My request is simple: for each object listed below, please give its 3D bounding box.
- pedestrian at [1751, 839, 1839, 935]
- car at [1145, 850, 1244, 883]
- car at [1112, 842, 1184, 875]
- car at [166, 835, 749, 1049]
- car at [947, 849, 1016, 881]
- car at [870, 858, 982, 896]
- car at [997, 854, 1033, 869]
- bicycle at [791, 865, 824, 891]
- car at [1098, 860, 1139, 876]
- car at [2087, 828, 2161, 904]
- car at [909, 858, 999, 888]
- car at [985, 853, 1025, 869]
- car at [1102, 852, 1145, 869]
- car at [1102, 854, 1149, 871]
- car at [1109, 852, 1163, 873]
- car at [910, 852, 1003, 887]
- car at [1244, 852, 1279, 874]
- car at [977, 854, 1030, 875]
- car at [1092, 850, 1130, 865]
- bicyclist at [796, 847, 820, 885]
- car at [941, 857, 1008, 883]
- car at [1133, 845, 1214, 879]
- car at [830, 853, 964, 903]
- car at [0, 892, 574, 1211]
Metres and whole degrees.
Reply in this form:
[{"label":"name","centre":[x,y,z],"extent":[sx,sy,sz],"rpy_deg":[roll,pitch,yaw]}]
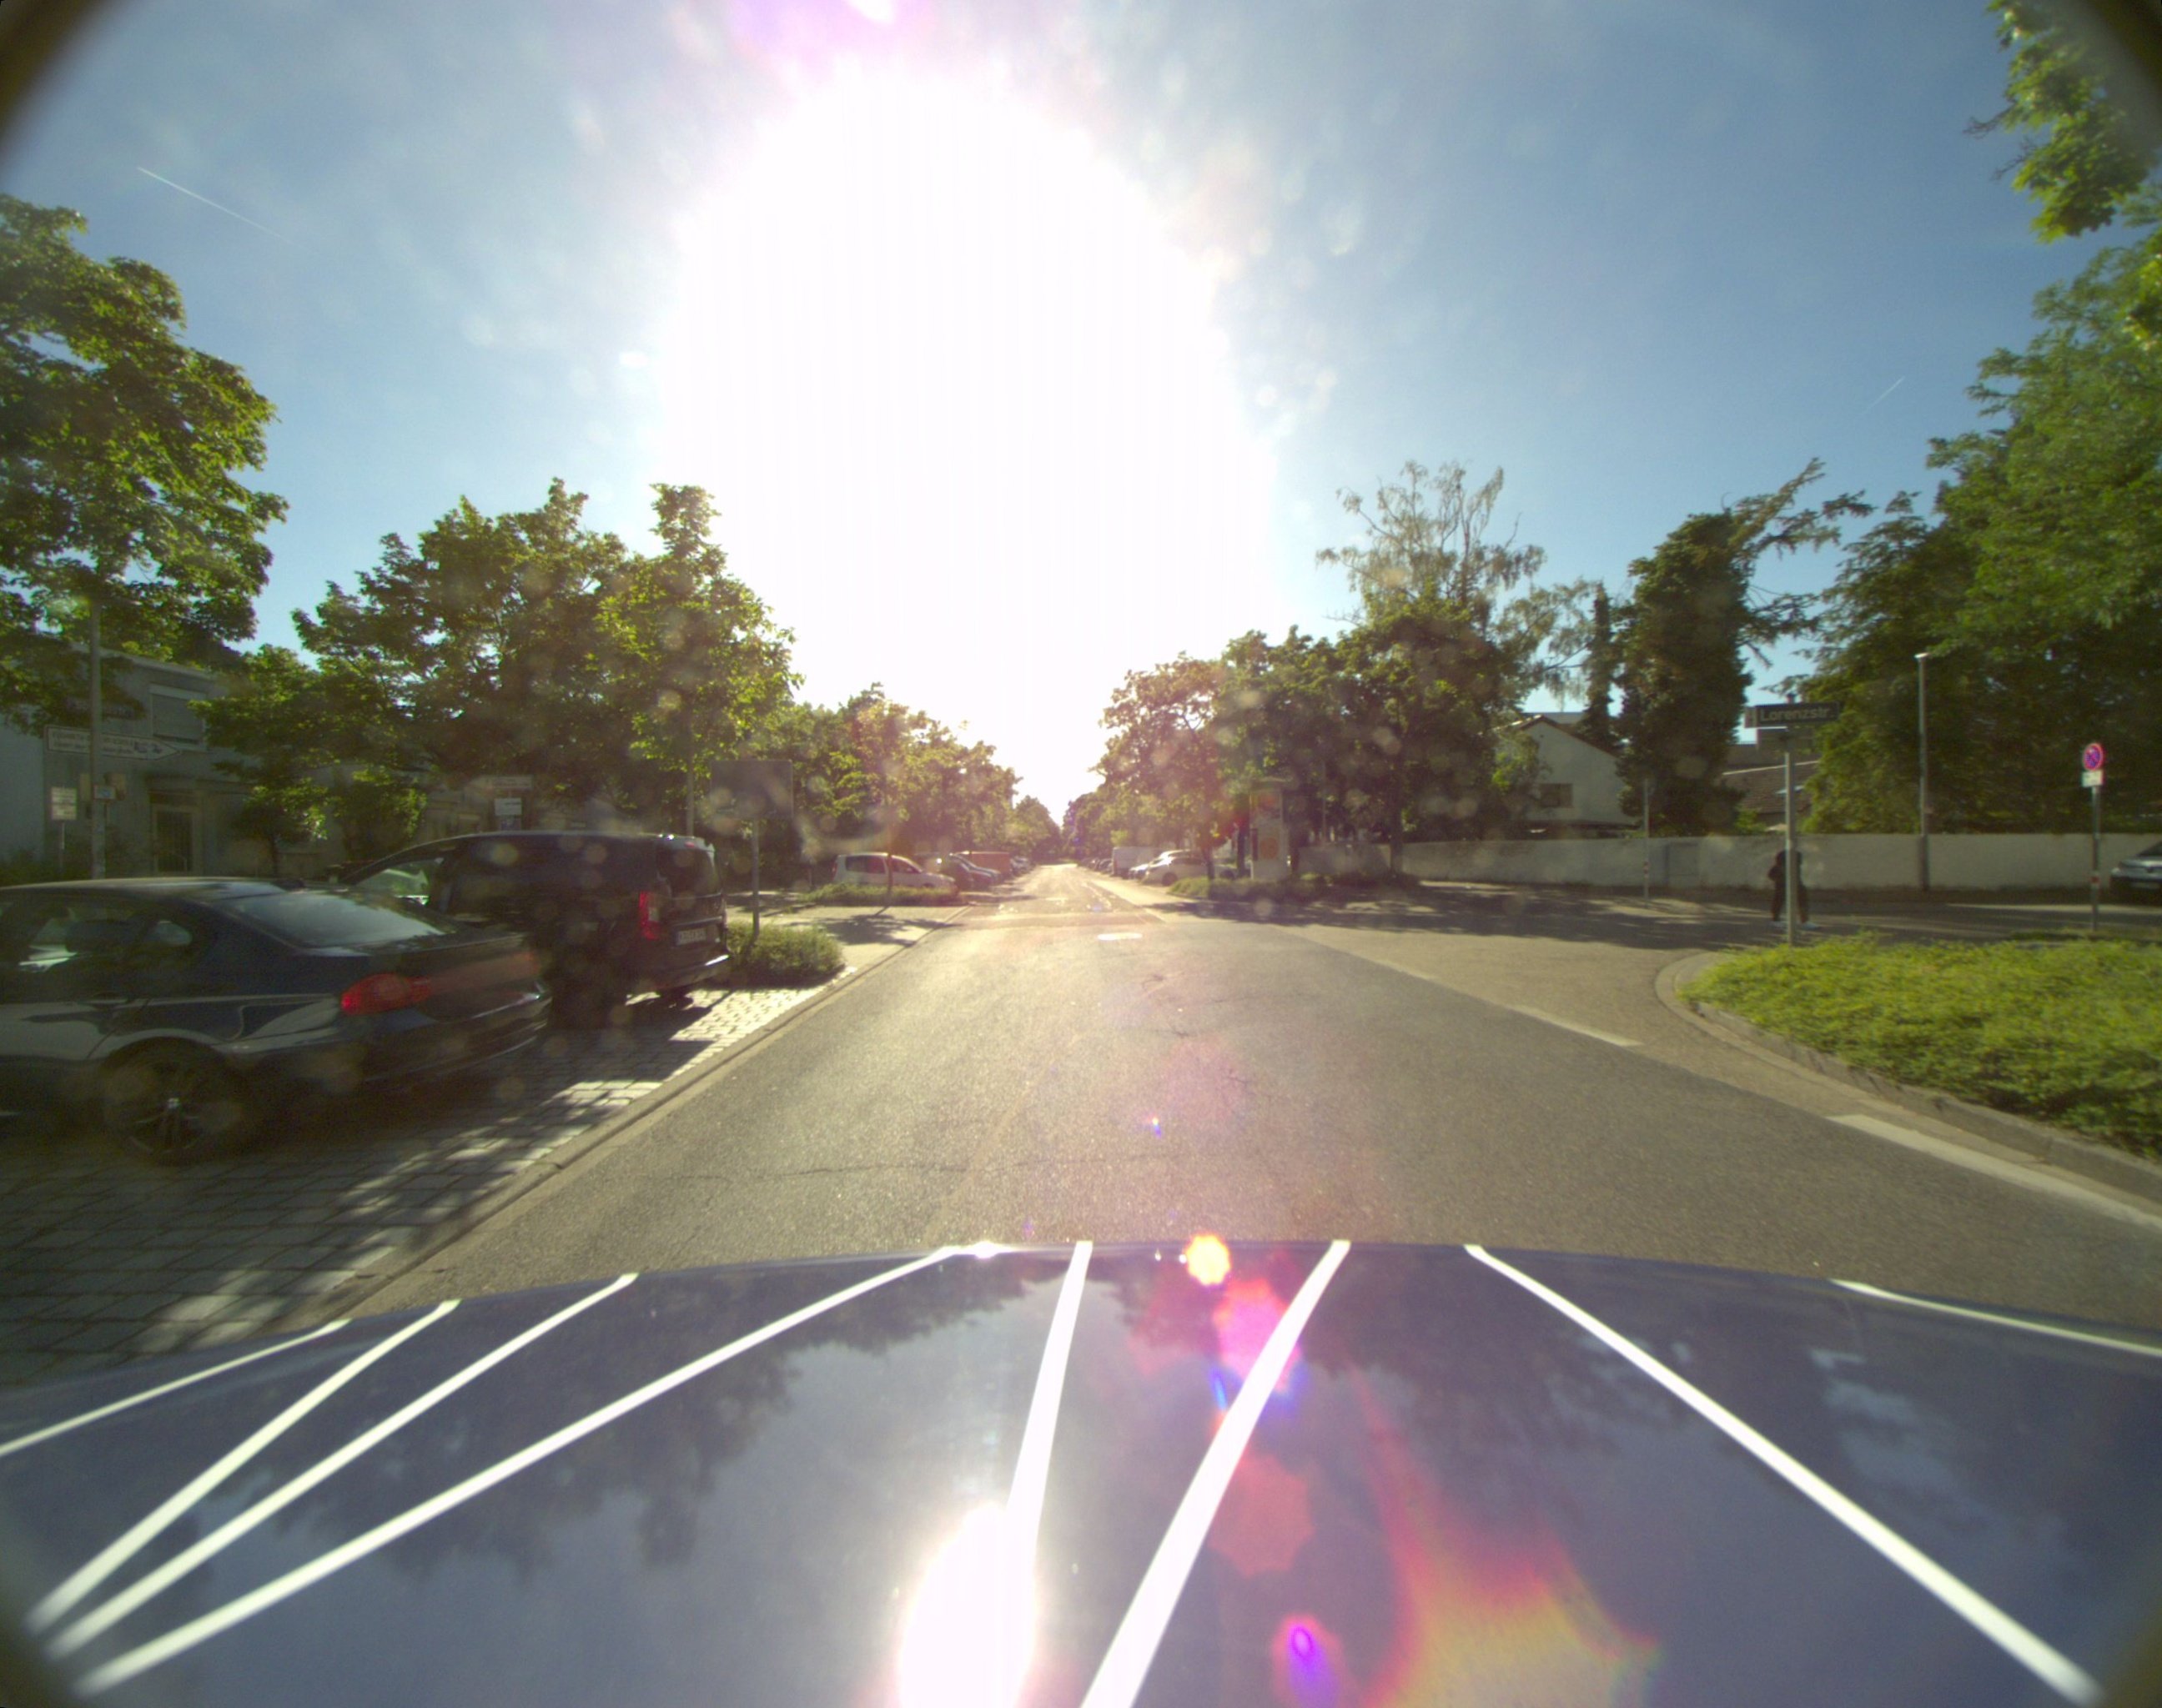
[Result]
[{"label":"pedestrian","centre":[12.857,0.566,13.708],"extent":[0.837,1.675,0.808],"rpy_deg":[0,1,11]},{"label":"car","centre":[5.716,0.627,38.667],"extent":[4.685,1.398,1.829],"rpy_deg":[-3,1,-1]},{"label":"car","centre":[4.975,0.352,56.845],"extent":[5.133,2.364,2.000],"rpy_deg":[-1,0,-3]},{"label":"car","centre":[-5.791,0.766,7.530],"extent":[4.166,1.836,1.879],"rpy_deg":[1,1,-2]},{"label":"car","centre":[-6.353,0.685,48.980],"extent":[4.258,2.020,1.973],"rpy_deg":[1,1,-4]},{"label":"car","centre":[-6.109,0.903,30.356],"extent":[4.166,1.398,1.828],"rpy_deg":[1,1,-4]},{"label":"car","centre":[-7.826,0.832,90.470],"extent":[4.258,1.706,1.973],"rpy_deg":[1,1,-4]},{"label":"bicycle","centre":[-11.171,0.960,31.120],"extent":[0.596,0.990,2.089],"rpy_deg":[-1,-1,-1]},{"label":"car","centre":[4.345,1.599,89.100],"extent":[4.563,1.819,2.000],"rpy_deg":[-1,0,-3]},{"label":"car","centre":[29.704,0.271,19.549],"extent":[5.144,1.903,1.904],"rpy_deg":[-1,1,-1]},{"label":"car","centre":[-6.189,0.928,37.302],"extent":[4.166,1.398,1.828],"rpy_deg":[1,1,-4]},{"label":"car","centre":[-8.311,0.791,83.207],"extent":[4.258,1.706,1.973],"rpy_deg":[1,1,-4]},{"label":"car","centre":[4.640,0.761,83.419],"extent":[4.563,1.819,2.000],"rpy_deg":[-1,0,-3]},{"label":"car","centre":[4.503,0.866,76.716],"extent":[4.563,1.590,2.000],"rpy_deg":[-1,0,-3]},{"label":"car","centre":[4.765,0.742,66.296],"extent":[4.563,1.819,2.000],"rpy_deg":[-1,0,-3]},{"label":"car","centre":[-6.445,0.784,39.730],"extent":[4.663,1.762,1.828],"rpy_deg":[1,1,-4]},{"label":"car","centre":[13.937,0.689,58.794],"extent":[1.834,1.605,4.144],"rpy_deg":[1,1,2]},{"label":"car","centre":[-6.277,0.848,62.047],"extent":[4.258,1.605,1.973],"rpy_deg":[1,1,-4]},{"label":"car","centre":[3.684,0.454,93.485],"extent":[4.563,1.819,2.000],"rpy_deg":[-1,0,-3]},{"label":"bicyclist","centre":[-11.175,0.501,31.104],"extent":[0.596,1.514,1.015],"rpy_deg":[-1,0,0]},{"label":"car","centre":[-6.222,0.916,44.801],"extent":[3.785,1.465,1.768],"rpy_deg":[1,1,-4]},{"label":"car","centre":[5.593,0.482,46.325],"extent":[4.634,1.979,2.000],"rpy_deg":[-1,0,-3]},{"label":"car","centre":[-6.142,0.785,25.775],"extent":[4.166,1.589,1.828],"rpy_deg":[0,1,-4]},{"label":"car","centre":[-5.718,0.989,4.488],"extent":[4.166,1.398,1.828],"rpy_deg":[1,1,-4]}]
